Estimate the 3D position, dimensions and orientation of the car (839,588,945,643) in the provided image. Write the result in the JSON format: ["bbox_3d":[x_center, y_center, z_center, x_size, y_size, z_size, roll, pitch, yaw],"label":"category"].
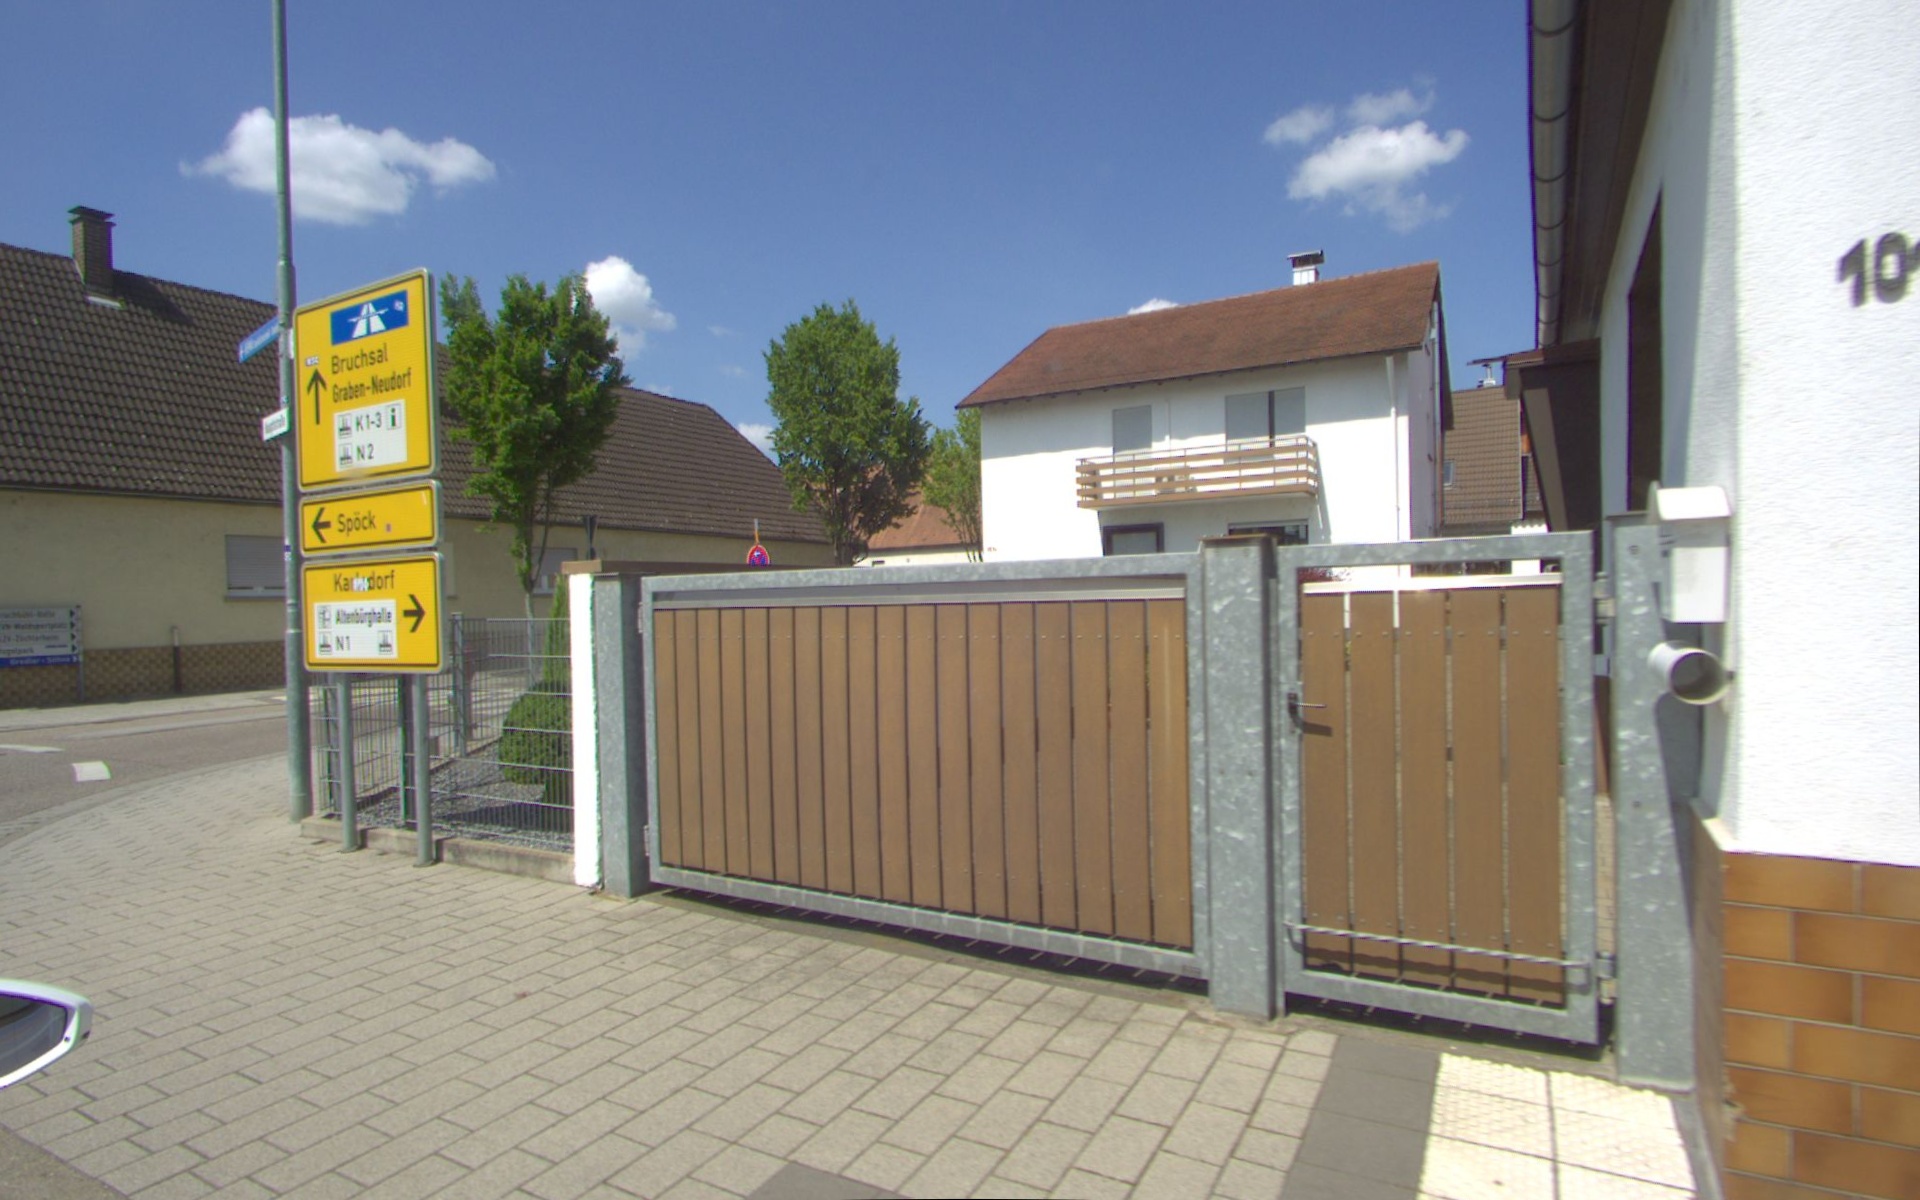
[{"bbox_3d":[-2.509,0.523,38.161,1.969,1.965,4.459,0,1,28],"label":"car"}]
